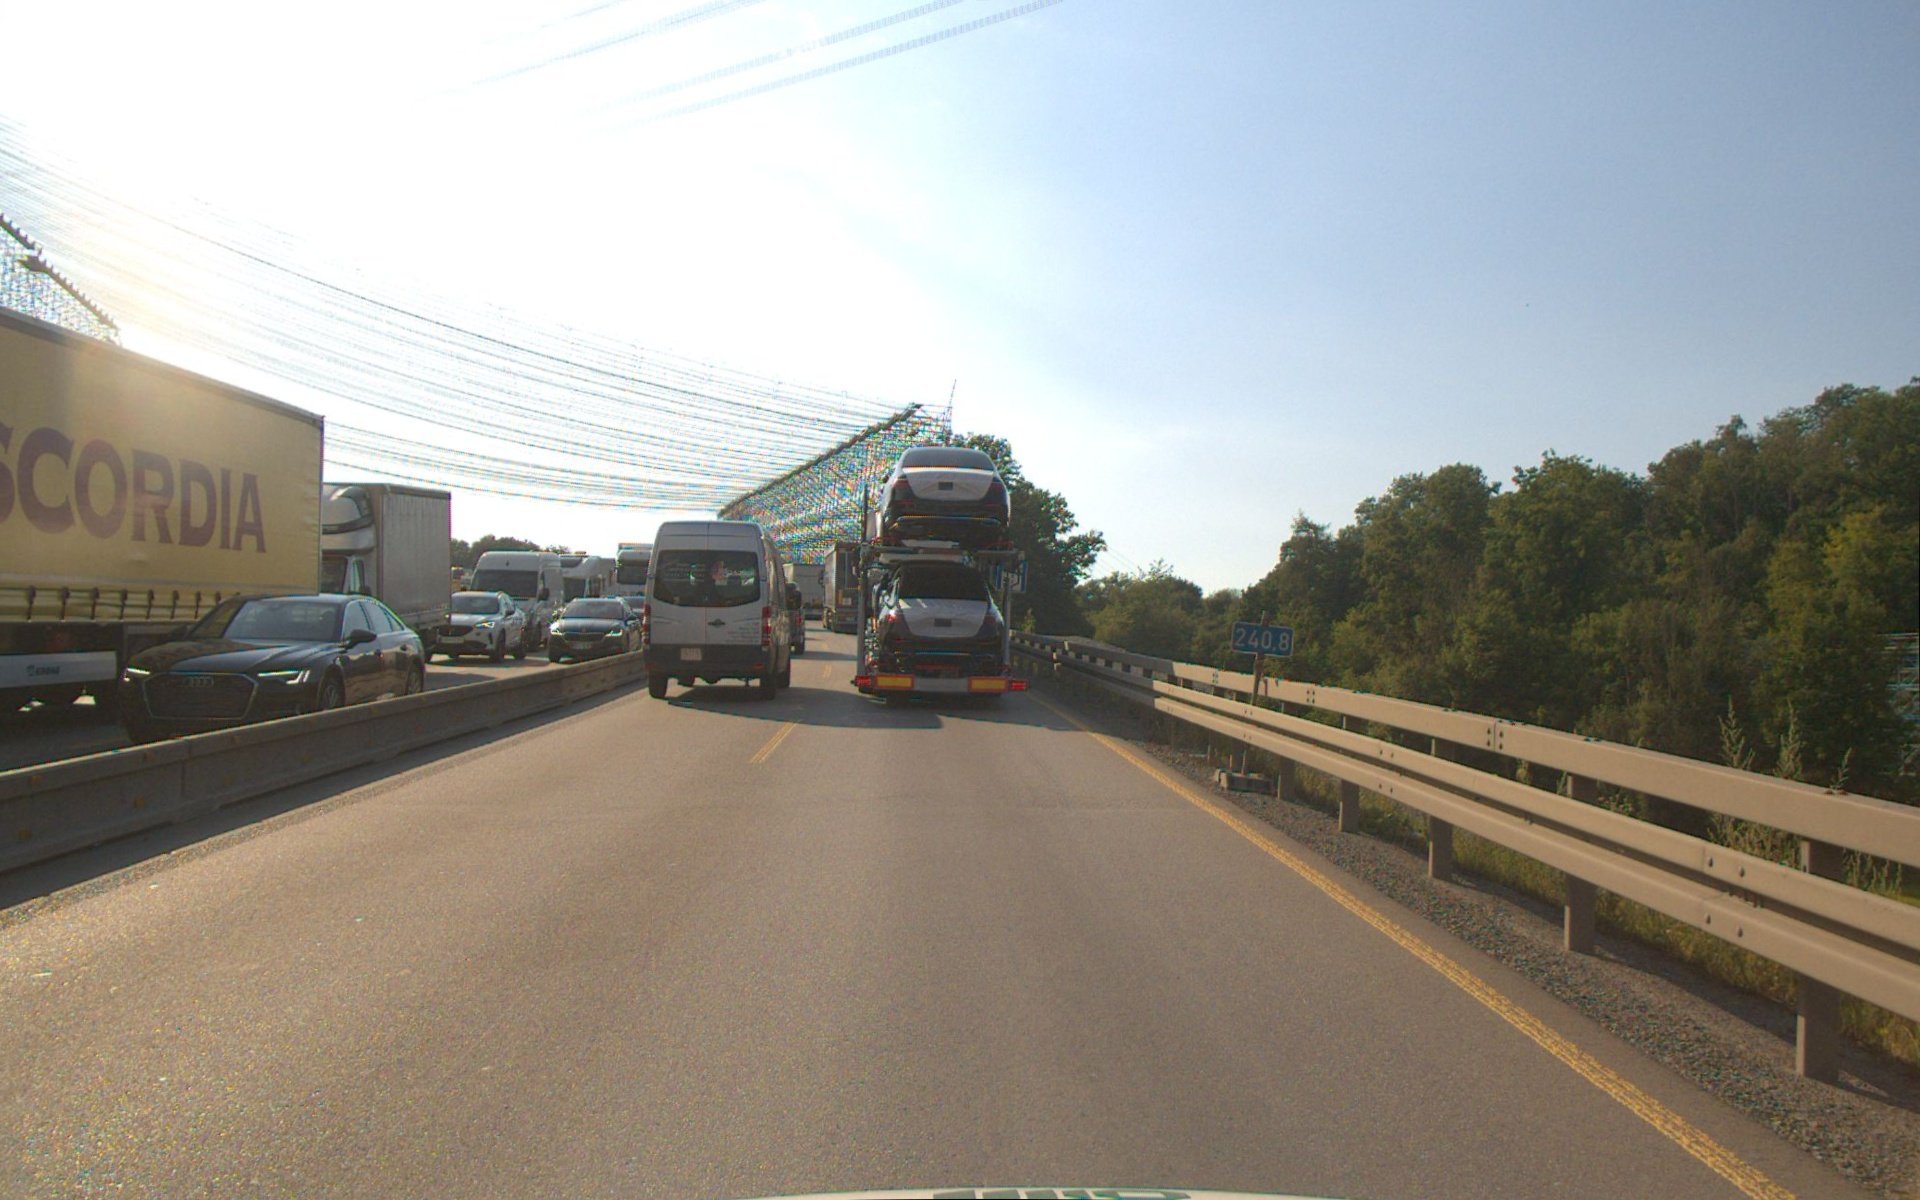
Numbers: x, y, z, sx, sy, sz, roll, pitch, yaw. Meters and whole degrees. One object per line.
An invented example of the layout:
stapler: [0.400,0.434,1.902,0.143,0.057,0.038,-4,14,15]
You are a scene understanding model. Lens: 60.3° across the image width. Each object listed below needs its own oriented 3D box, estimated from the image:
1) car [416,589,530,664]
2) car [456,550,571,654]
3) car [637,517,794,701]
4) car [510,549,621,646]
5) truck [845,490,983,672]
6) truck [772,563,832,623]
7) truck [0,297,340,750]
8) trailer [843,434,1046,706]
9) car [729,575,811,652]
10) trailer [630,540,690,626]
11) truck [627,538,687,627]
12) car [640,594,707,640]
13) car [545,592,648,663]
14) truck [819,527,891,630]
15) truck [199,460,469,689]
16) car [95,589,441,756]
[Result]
car: [-10.847,0.575,37.095,1.729,1.550,3.997,1,0,-6]
car: [-12.148,0.083,45.363,1.918,2.667,5.743,0,-1,-4]
car: [-3.746,0.146,26.025,1.917,2.667,3.999,0,-1,-1]
car: [-12.899,-0.047,54.599,2.288,2.969,7.626,0,-1,-4]
truck: [-1.202,-0.388,38.285,2.825,3.767,7.319,1,0,-4]
truck: [-12.319,-0.593,127.707,3.619,4.294,13.639,-2,1,-9]
truck: [-10.282,-0.694,17.669,2.653,4.160,14.144,0,0,-3]
trailer: [-0.684,-0.388,30.823,2.812,3.790,14.935,1,0,-4]
car: [-5.382,0.378,47.307,1.953,2.049,3.998,1,-1,-2]
trailer: [-16.163,-0.829,89.845,2.670,4.292,13.721,1,0,-8]
truck: [-15.181,-0.839,83.142,2.662,4.292,5.671,1,0,-9]
car: [-10.588,0.609,61.384,2.018,1.512,4.721,-2,1,-5]
car: [-8.477,0.626,38.912,1.621,1.550,4.284,1,0,-3]
truck: [-5.158,-0.983,79.140,2.680,4.462,11.504,2,0,-7]
truck: [-10.866,-0.389,29.562,2.399,3.523,7.610,1,0,-4]
car: [-6.934,0.663,17.163,1.771,1.451,4.670,1,0,-3]
